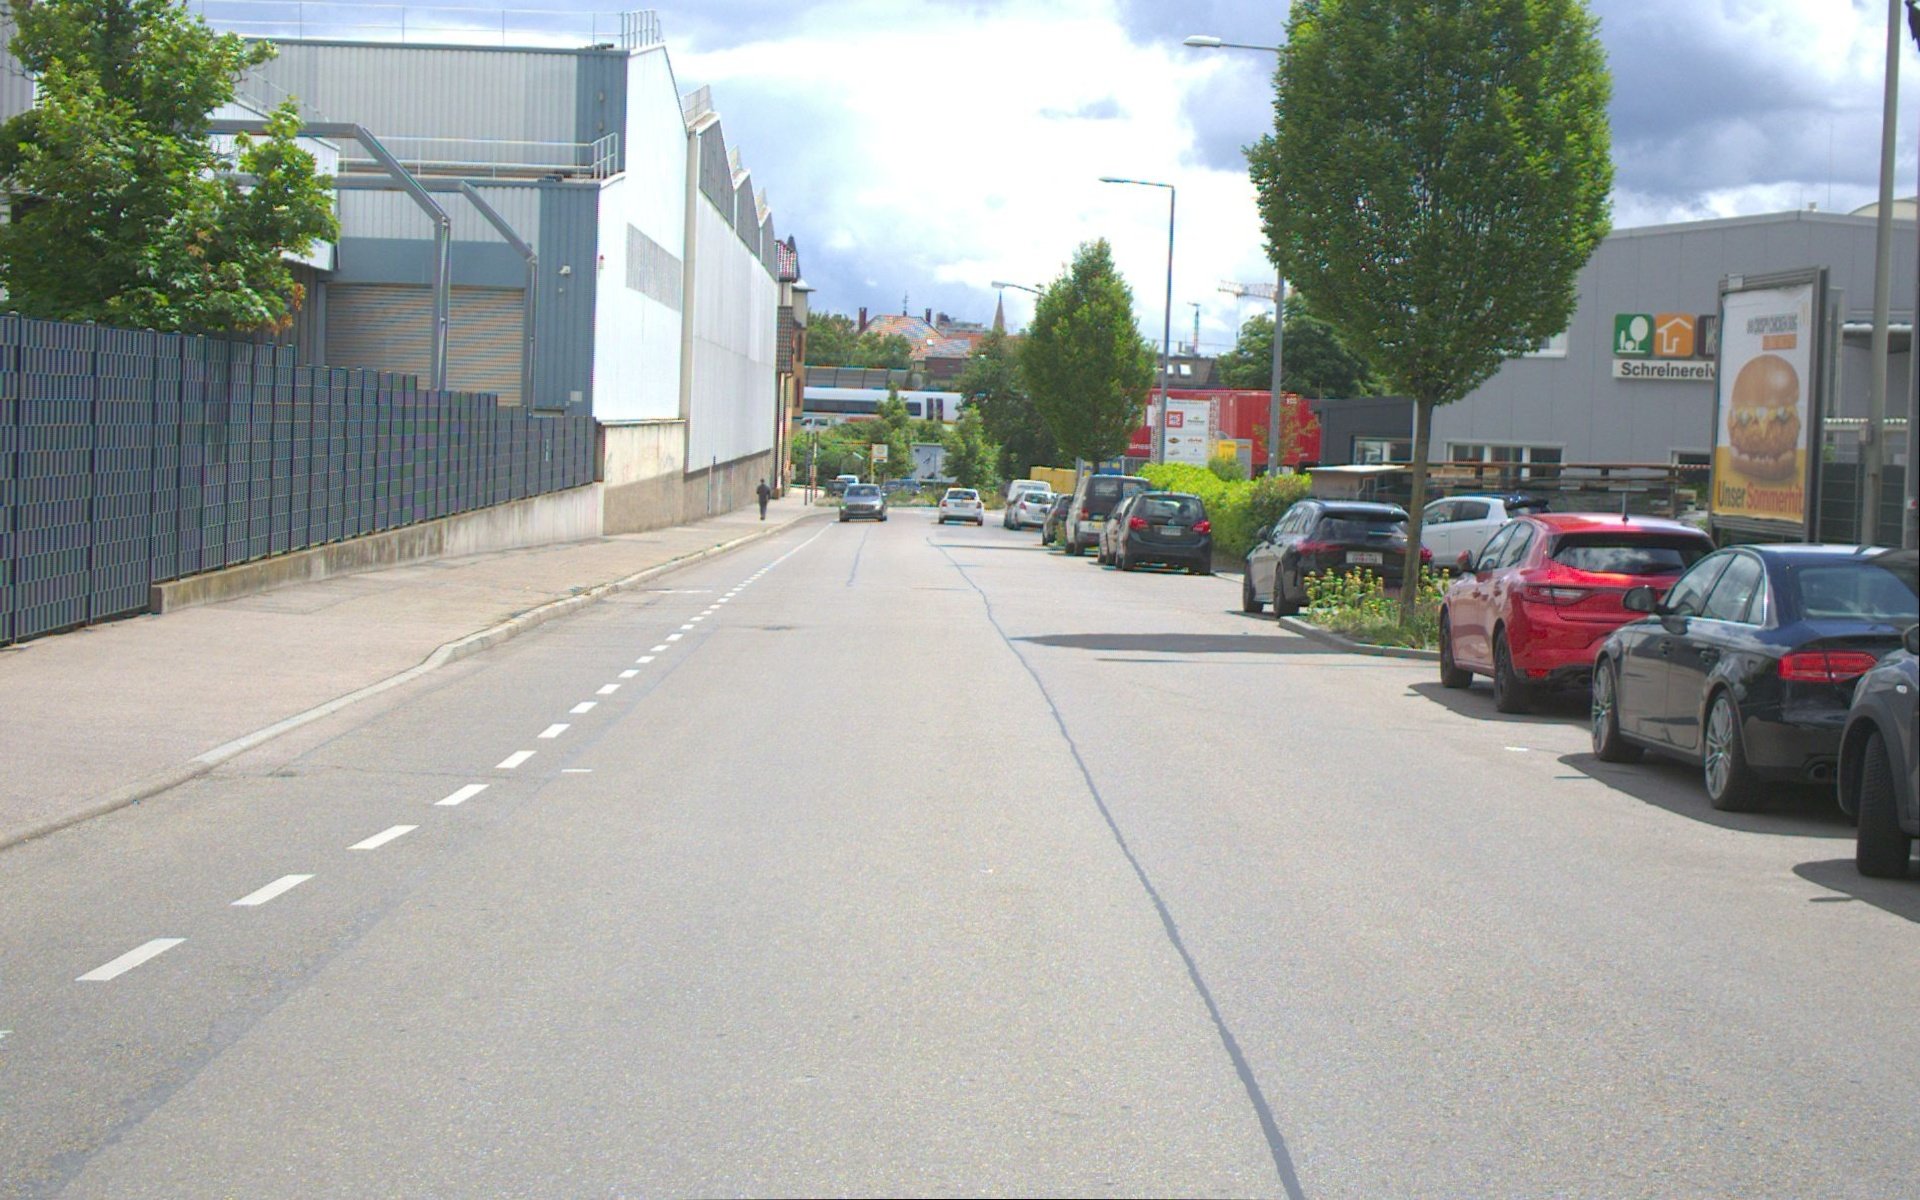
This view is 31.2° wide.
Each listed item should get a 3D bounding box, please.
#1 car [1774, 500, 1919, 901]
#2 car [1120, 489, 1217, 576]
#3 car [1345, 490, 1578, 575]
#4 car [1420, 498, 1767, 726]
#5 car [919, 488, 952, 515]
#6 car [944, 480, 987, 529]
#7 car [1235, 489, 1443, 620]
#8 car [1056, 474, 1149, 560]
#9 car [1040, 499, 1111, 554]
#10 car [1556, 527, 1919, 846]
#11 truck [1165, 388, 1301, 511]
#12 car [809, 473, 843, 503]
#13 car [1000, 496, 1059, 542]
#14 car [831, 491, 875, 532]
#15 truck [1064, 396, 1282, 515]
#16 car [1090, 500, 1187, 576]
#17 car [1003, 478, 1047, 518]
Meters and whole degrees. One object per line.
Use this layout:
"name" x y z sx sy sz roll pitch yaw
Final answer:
"car" 4.909 0.508 13.824 1.676 1.632 4.797 3 2 -5
"car" 4.126 -1.352 68.535 1.679 1.632 4.123 2 1 1
"car" 9.060 -1.225 62.349 1.720 1.457 4.074 -3 2 -39
"car" 4.690 0.024 26.040 1.735 1.467 4.262 2 2 -1
"car" -1.465 -5.901 206.097 1.852 1.481 4.000 2 0 -2
"car" 0.209 -3.758 135.322 1.567 1.780 3.606 2 0 -1
"car" 4.573 -0.573 42.129 1.791 1.460 4.709 2 1 -2
"car" 3.426 -2.023 83.713 1.869 1.983 5.144 2 1 -1
"car" 3.240 -2.092 97.370 1.714 1.468 4.512 2 1 -1
"car" 4.740 0.394 19.248 1.735 1.418 4.861 3 2 -2
"truck" 10.638 -5.823 134.787 2.573 4.434 7.865 2 0 -16
"car" -7.575 -6.333 194.671 1.852 1.481 4.000 2 0 -2
"car" 2.554 -3.027 127.783 1.701 1.522 3.739 4 2 -5
"car" -4.358 -3.570 139.849 1.719 1.550 4.288 -2 1 -2
"truck" 8.770 -5.977 141.689 8.459 4.655 2.580 2 0 20
"car" 3.797 -1.349 73.768 1.655 1.535 4.735 2 1 -1
"car" 2.614 -4.107 138.509 1.701 1.522 3.738 2 2 0
